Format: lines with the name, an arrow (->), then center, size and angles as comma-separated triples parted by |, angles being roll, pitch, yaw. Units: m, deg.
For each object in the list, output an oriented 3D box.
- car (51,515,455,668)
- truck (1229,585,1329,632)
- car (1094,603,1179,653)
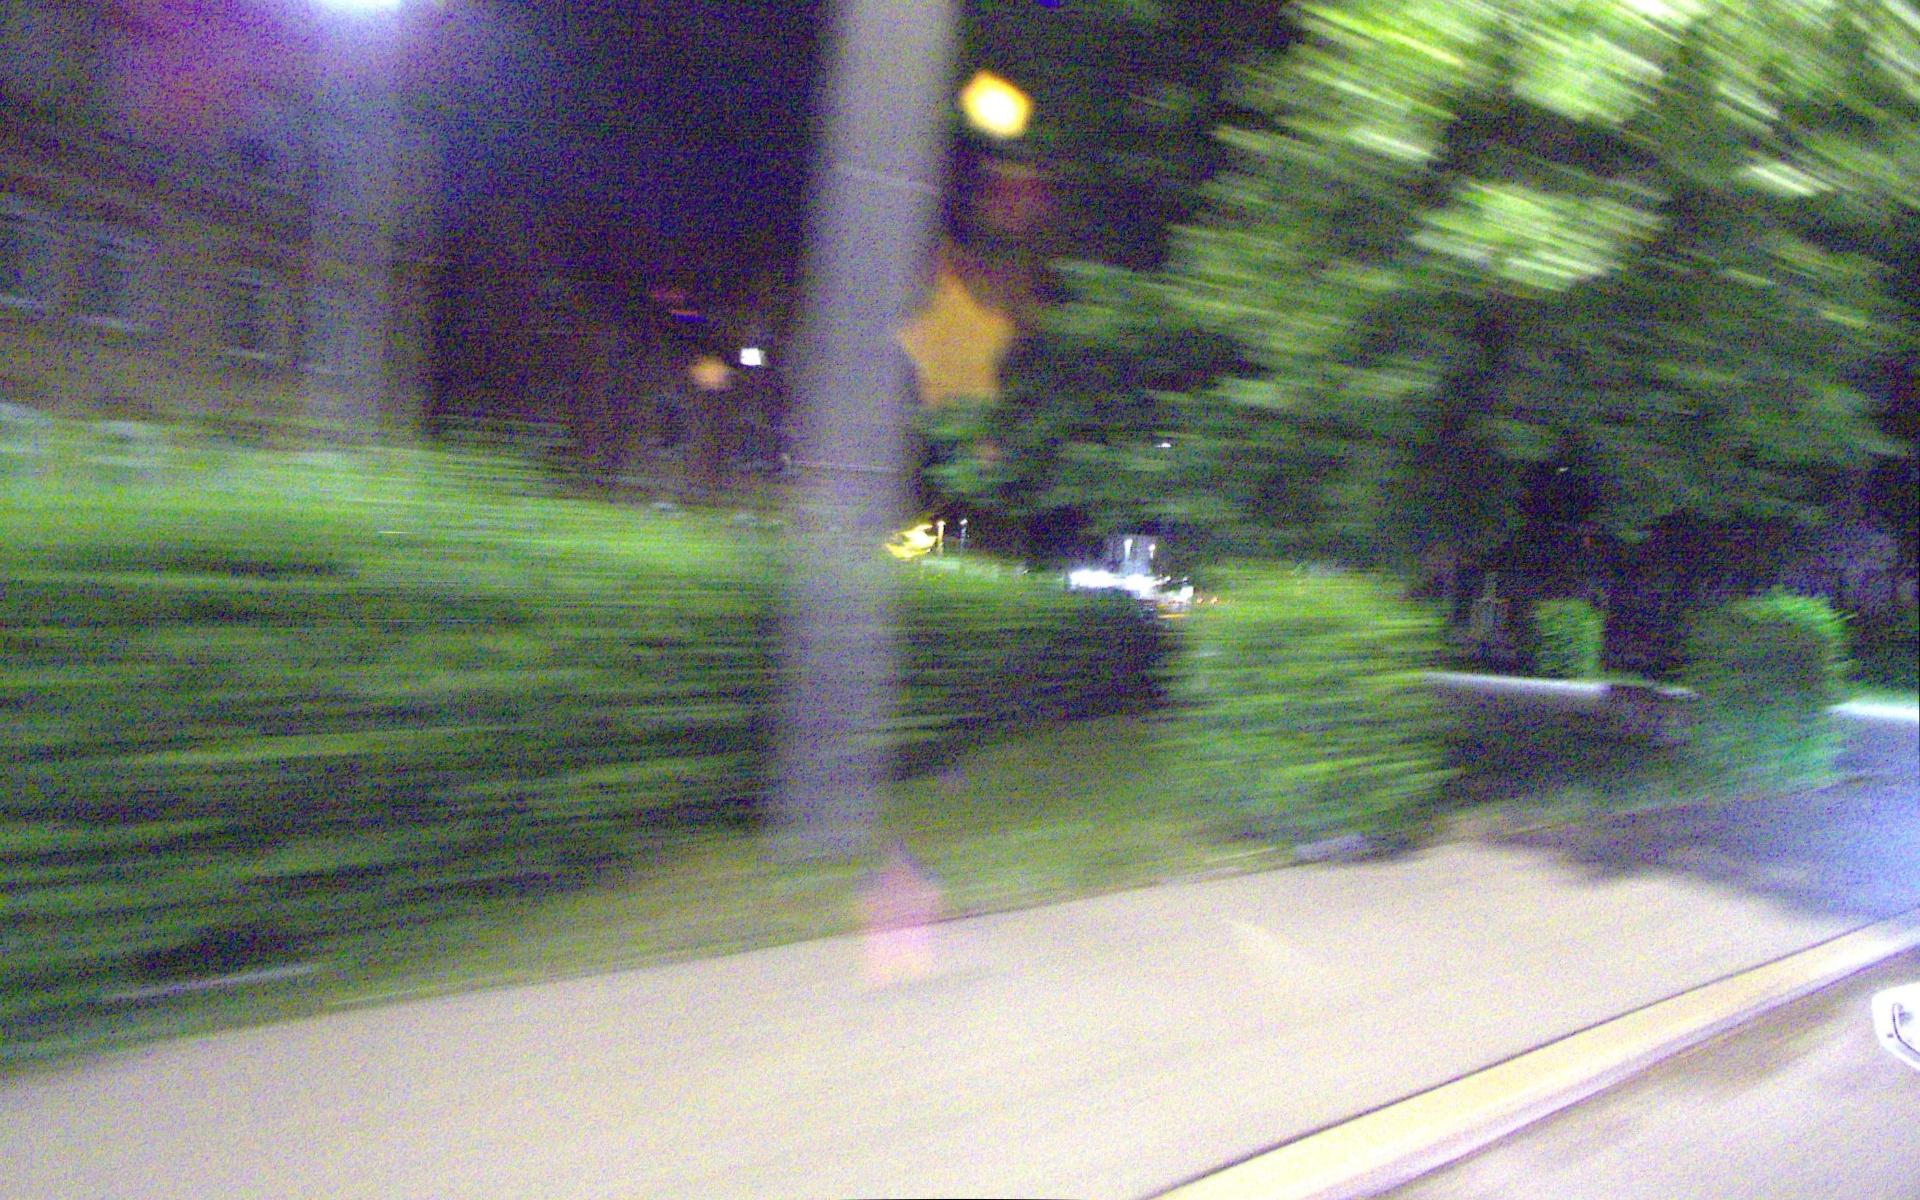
car -> -10.775, -0.107, 15.795 | 1.963, 1.981, 4.800 | 3, 1, 27
truck -> 23.288, 0.583, 73.394 | 6.669, 2.882, 1.998 | 4, 2, 24
car -> 5.982, 0.908, 33.773 | 1.731, 1.464, 4.022 | 3, 1, 26
